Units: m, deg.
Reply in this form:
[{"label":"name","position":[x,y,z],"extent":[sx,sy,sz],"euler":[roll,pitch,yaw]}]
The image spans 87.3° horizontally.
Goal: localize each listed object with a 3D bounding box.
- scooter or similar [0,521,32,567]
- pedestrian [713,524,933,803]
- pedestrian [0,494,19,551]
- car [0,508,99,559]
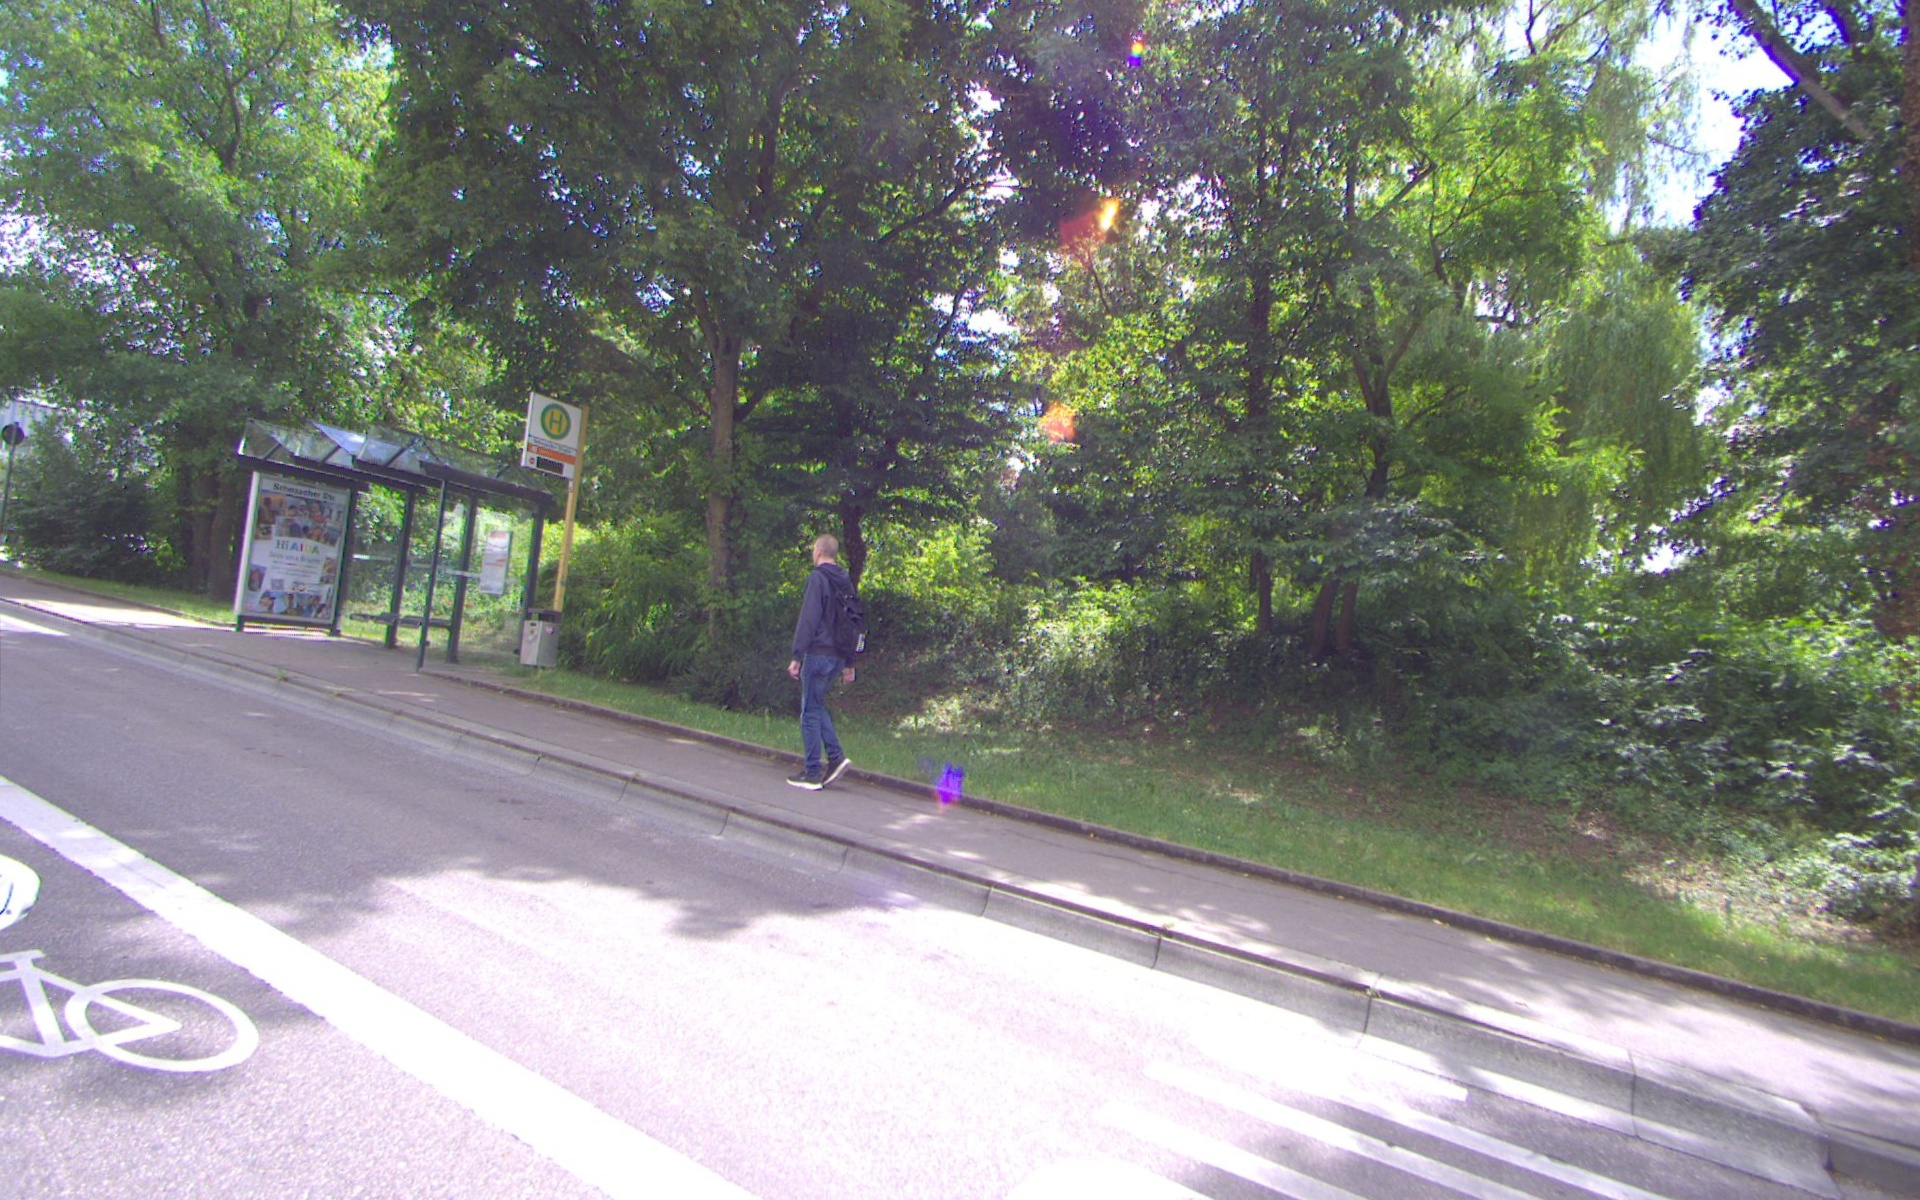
[{"label":"scooter or similar","position":[-25.128,-1.493,26.357],"extent":[0.325,1.112,1.153],"euler":[7,-2,9]},{"label":"pedestrian","position":[-1.058,0.462,7.776],"extent":[1.250,1.918,0.802],"euler":[7,-1,33]},{"label":"pedestrian","position":[-31.545,-2.569,33.042],"extent":[0.612,1.808,0.562],"euler":[12,-5,-40]},{"label":"car","position":[-38.355,-2.788,41.686],"extent":[1.679,1.619,3.592],"euler":[7,-2,20]}]
